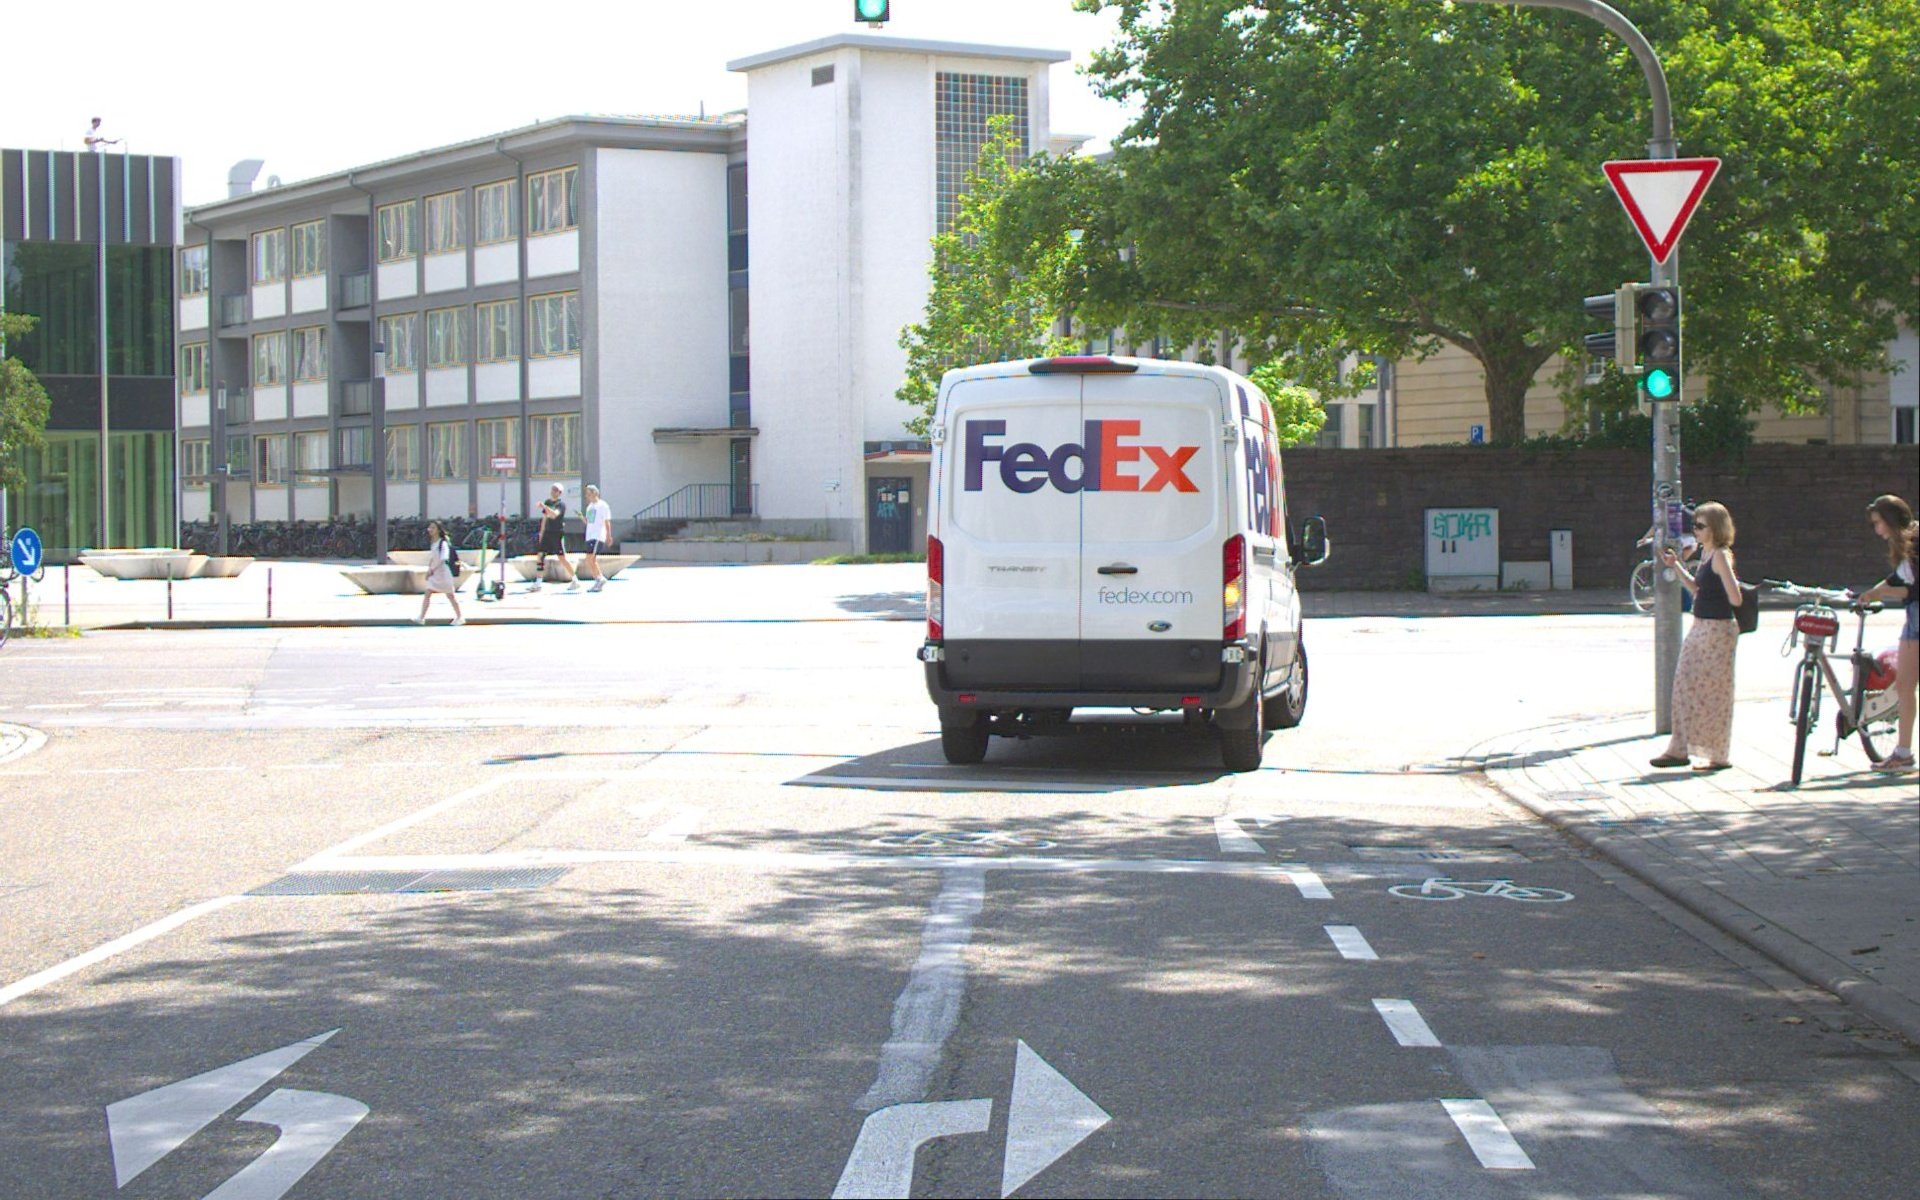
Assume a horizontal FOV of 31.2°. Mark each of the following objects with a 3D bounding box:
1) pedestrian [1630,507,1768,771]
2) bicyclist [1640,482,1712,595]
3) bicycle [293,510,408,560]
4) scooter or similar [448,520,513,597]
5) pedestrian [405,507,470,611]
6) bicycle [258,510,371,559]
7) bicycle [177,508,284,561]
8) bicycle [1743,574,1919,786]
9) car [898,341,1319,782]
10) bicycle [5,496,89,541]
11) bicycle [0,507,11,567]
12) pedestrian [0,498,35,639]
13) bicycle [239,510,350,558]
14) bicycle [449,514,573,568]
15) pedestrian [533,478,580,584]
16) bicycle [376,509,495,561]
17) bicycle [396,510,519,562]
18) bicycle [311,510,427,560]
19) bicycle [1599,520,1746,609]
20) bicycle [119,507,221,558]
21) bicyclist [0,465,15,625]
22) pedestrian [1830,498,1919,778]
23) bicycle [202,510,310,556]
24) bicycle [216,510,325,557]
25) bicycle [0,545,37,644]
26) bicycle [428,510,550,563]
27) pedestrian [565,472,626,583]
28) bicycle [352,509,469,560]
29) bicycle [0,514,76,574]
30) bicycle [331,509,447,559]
[{"bbox_3d":[4.499,0.227,20.965,0.731,1.570,0.775,-1,1,7],"label":"pedestrian"},{"bbox_3d":[9.245,-0.794,44.393,0.514,1.447,0.787,-1,2,-30],"label":"bicyclist"},{"bbox_3d":[-17.036,-1.820,96.113,2.956,1.359,1.117,-1,1,-35],"label":"bicycle"},{"bbox_3d":[-7.787,-0.692,55.753,0.716,1.174,2.726,-1,2,-15],"label":"scooter or similar"},{"bbox_3d":[-7.748,-0.609,50.966,0.824,1.518,0.815,-1,1,-17],"label":"pedestrian"},{"bbox_3d":[-18.410,-1.870,98.064,2.956,1.359,1.117,-1,1,-35],"label":"bicycle"},{"bbox_3d":[-22.032,-1.979,103.816,2.956,1.569,1.117,-1,1,-35],"label":"bicycle"},{"bbox_3d":[5.177,0.439,19.791,0.593,1.123,1.739,-3,0,37],"label":"bicycle"},{"bbox_3d":[1.155,-0.311,23.107,2.096,2.557,5.600,2,2,10],"label":"car"},{"bbox_3d":[-32.226,-2.890,121.369,1.117,1.569,2.961,1,1,29],"label":"bicycle"},{"bbox_3d":[-20.954,-1.320,71.298,1.198,1.233,2.950,-1,2,-43],"label":"bicycle"},{"bbox_3d":[-12.989,-0.418,45.665,0.831,1.864,1.083,0,2,25],"label":"pedestrian"},{"bbox_3d":[-19.265,-1.907,99.582,2.956,1.359,1.117,-1,1,-35],"label":"bicycle"},{"bbox_3d":[-11.515,-1.513,88.222,2.956,1.359,1.117,-1,1,-35],"label":"bicycle"},{"bbox_3d":[-6.995,-1.200,59.591,0.668,1.808,0.816,-1,1,-17],"label":"pedestrian"},{"bbox_3d":[-13.978,-1.738,91.695,2.956,1.359,1.117,-1,1,-35],"label":"bicycle"},{"bbox_3d":[-13.233,-1.680,90.651,2.956,1.359,1.275,-1,1,-35],"label":"bicycle"},{"bbox_3d":[-16.338,-1.798,95.062,2.956,1.359,1.117,-1,1,-35],"label":"bicycle"},{"bbox_3d":[9.204,-0.476,44.510,0.550,1.127,2.174,-1,2,-30],"label":"bicycle"},{"bbox_3d":[-24.912,-2.131,108.439,2.956,1.569,1.117,-1,1,-35],"label":"bicycle"},{"bbox_3d":[-11.293,-0.609,38.836,0.790,1.811,0.999,0,2,12],"label":"bicyclist"},{"bbox_3d":[5.521,0.206,19.717,0.726,1.570,0.732,-3,0,37],"label":"pedestrian"},{"bbox_3d":[-21.015,-1.998,102.673,2.956,1.359,1.117,-1,1,-35],"label":"bicycle"},{"bbox_3d":[-20.347,-1.969,101.467,2.956,1.359,1.117,-1,1,-35],"label":"bicycle"},{"bbox_3d":[-11.284,-0.049,38.901,0.771,1.118,2.025,0,2,12],"label":"bicycle"},{"bbox_3d":[-12.223,-1.646,89.347,2.956,1.359,1.117,-1,1,-35],"label":"bicycle"},{"bbox_3d":[-6.244,-1.239,58.869,0.865,1.882,0.913,-1,1,-17],"label":"pedestrian"},{"bbox_3d":[-14.840,-1.775,92.892,2.956,1.359,1.117,-1,1,-35],"label":"bicycle"},{"bbox_3d":[-19.798,-1.181,71.989,1.198,1.233,2.950,-1,2,-43],"label":"bicycle"},{"bbox_3d":[-15.599,-1.799,93.978,2.956,1.359,1.117,-1,1,-35],"label":"bicycle"}]
